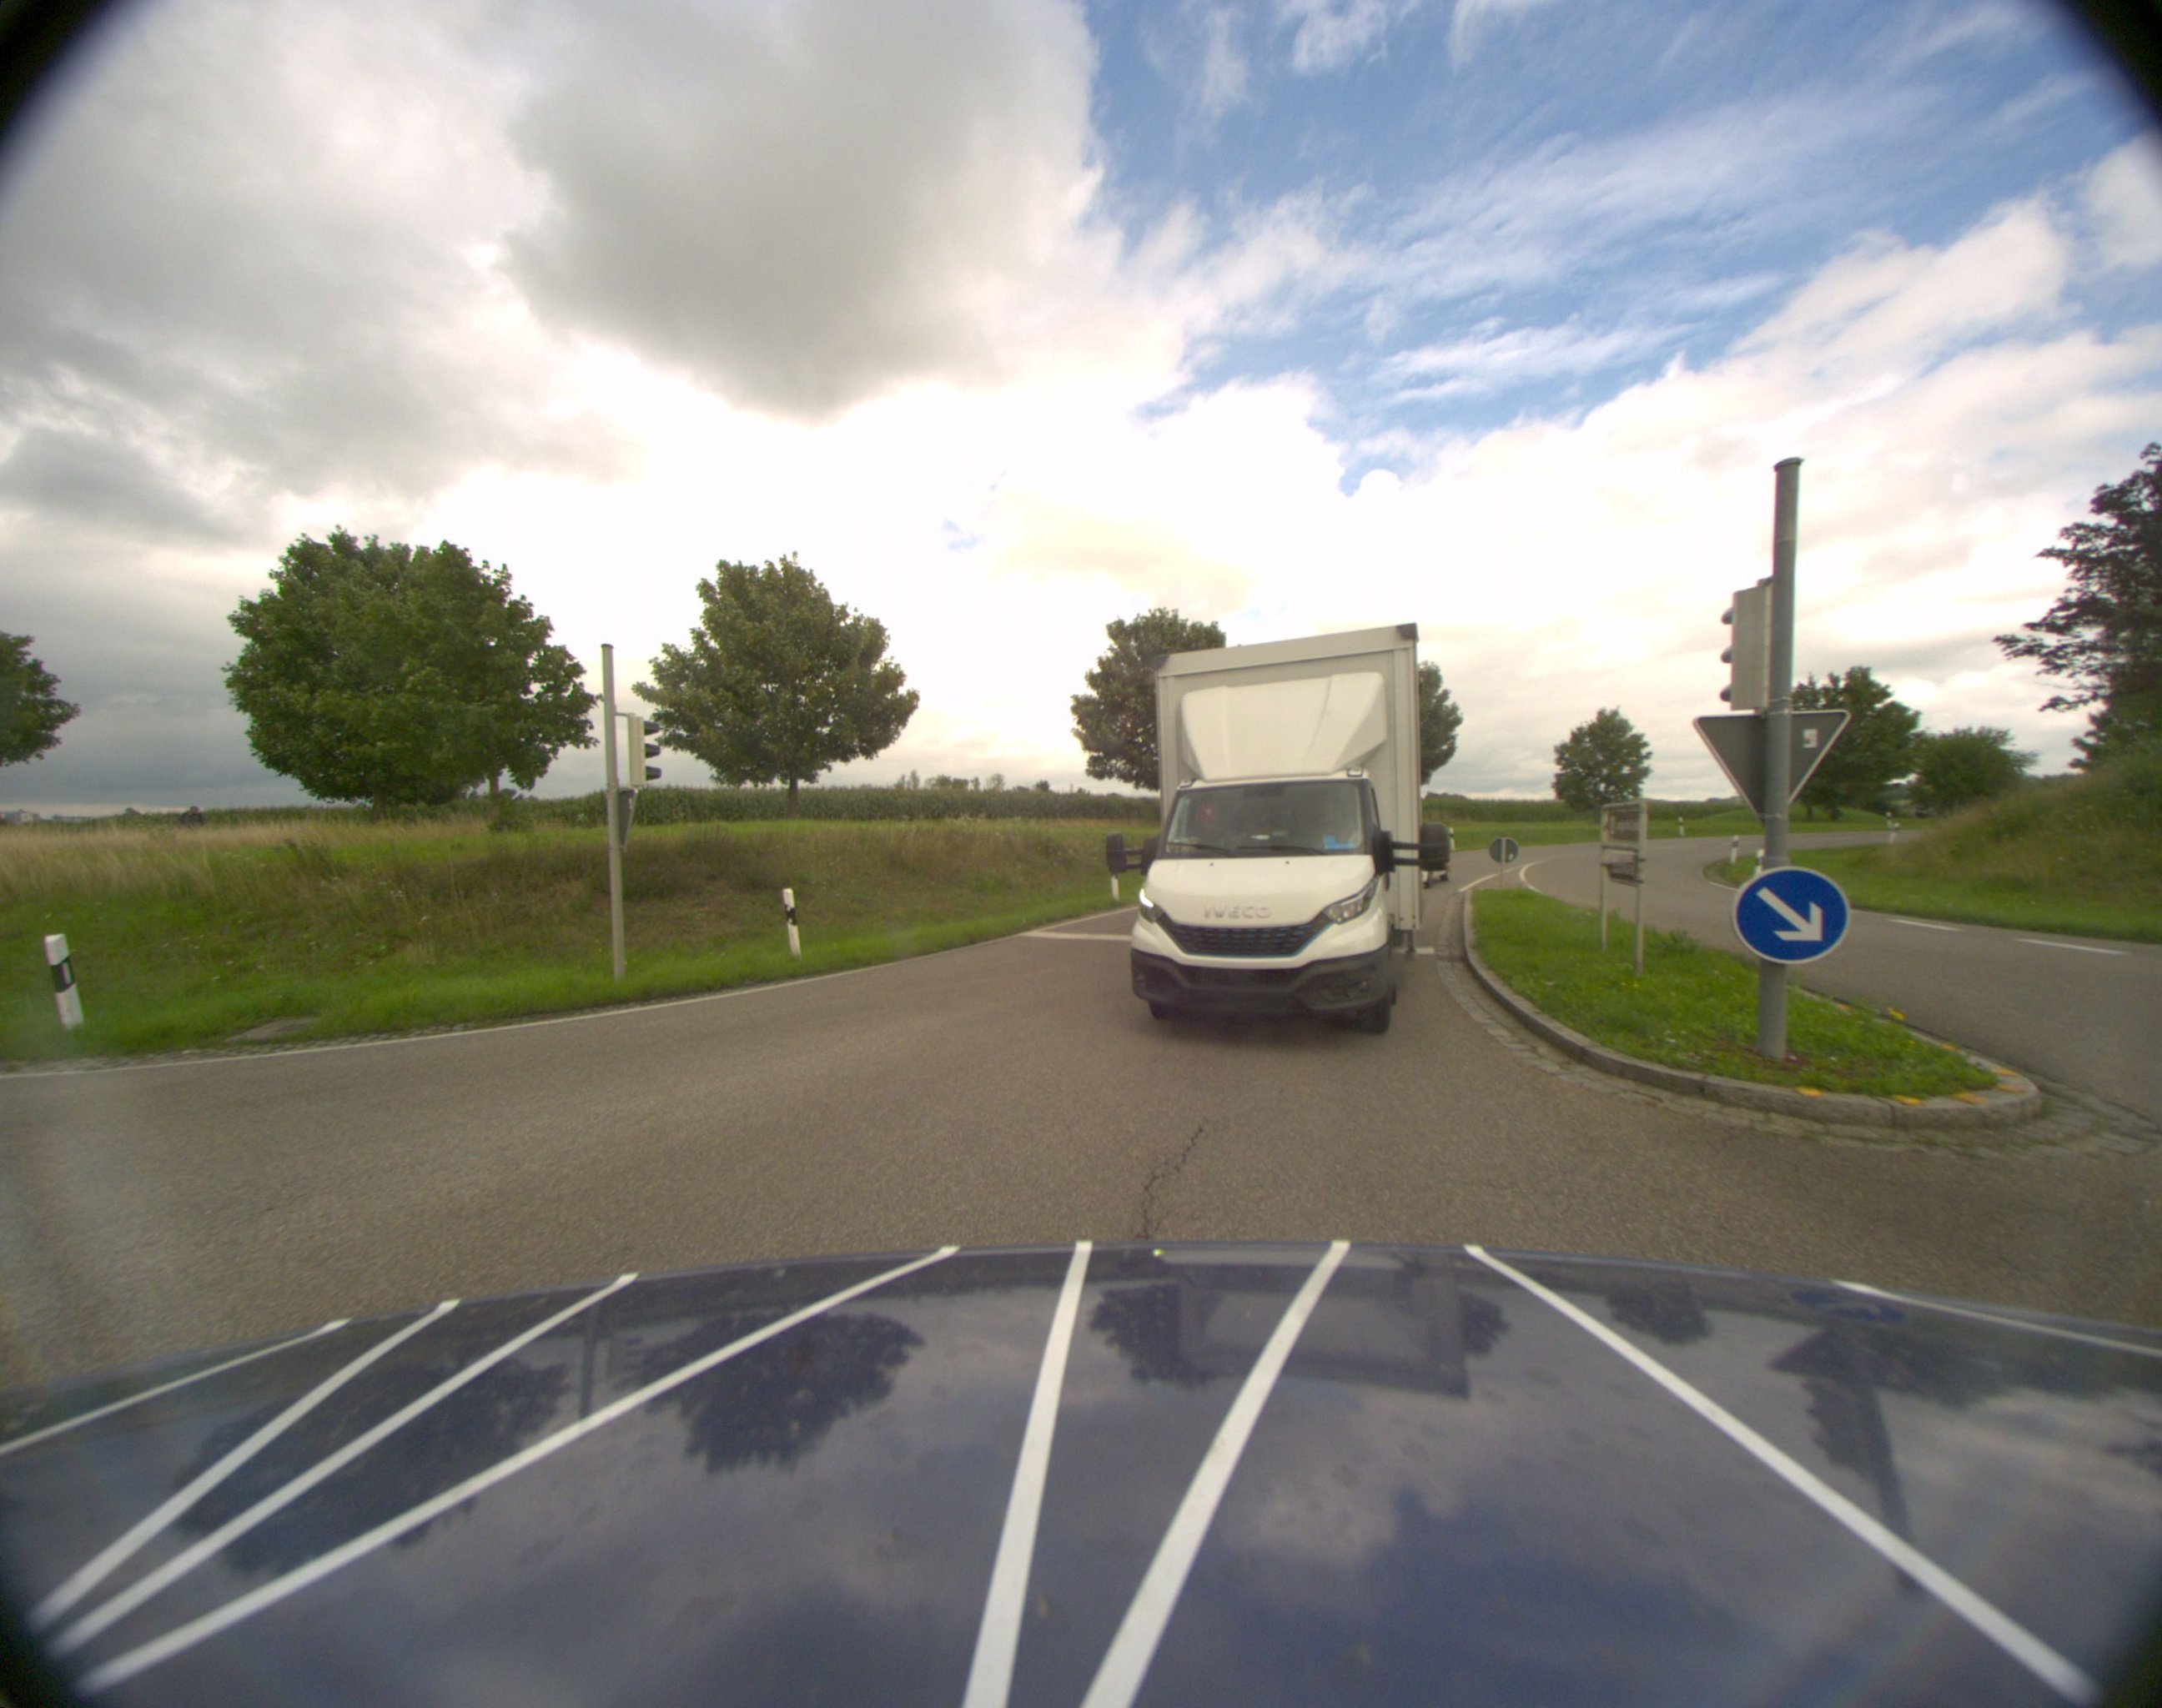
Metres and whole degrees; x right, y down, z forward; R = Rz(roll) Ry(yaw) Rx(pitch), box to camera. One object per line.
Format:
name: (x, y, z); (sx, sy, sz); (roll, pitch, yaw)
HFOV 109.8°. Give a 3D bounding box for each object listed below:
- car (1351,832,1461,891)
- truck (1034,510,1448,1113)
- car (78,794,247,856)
car: (9.059, 0.137, 21.012); (1.805, 1.444, 4.008); (0, 2, 38)
truck: (2.740, -0.408, 9.322); (2.832, 3.743, 8.811); (0, 2, 24)
car: (-32.028, -1.016, 26.555); (3.993, 2.003, 2.001); (-1, 3, 12)
